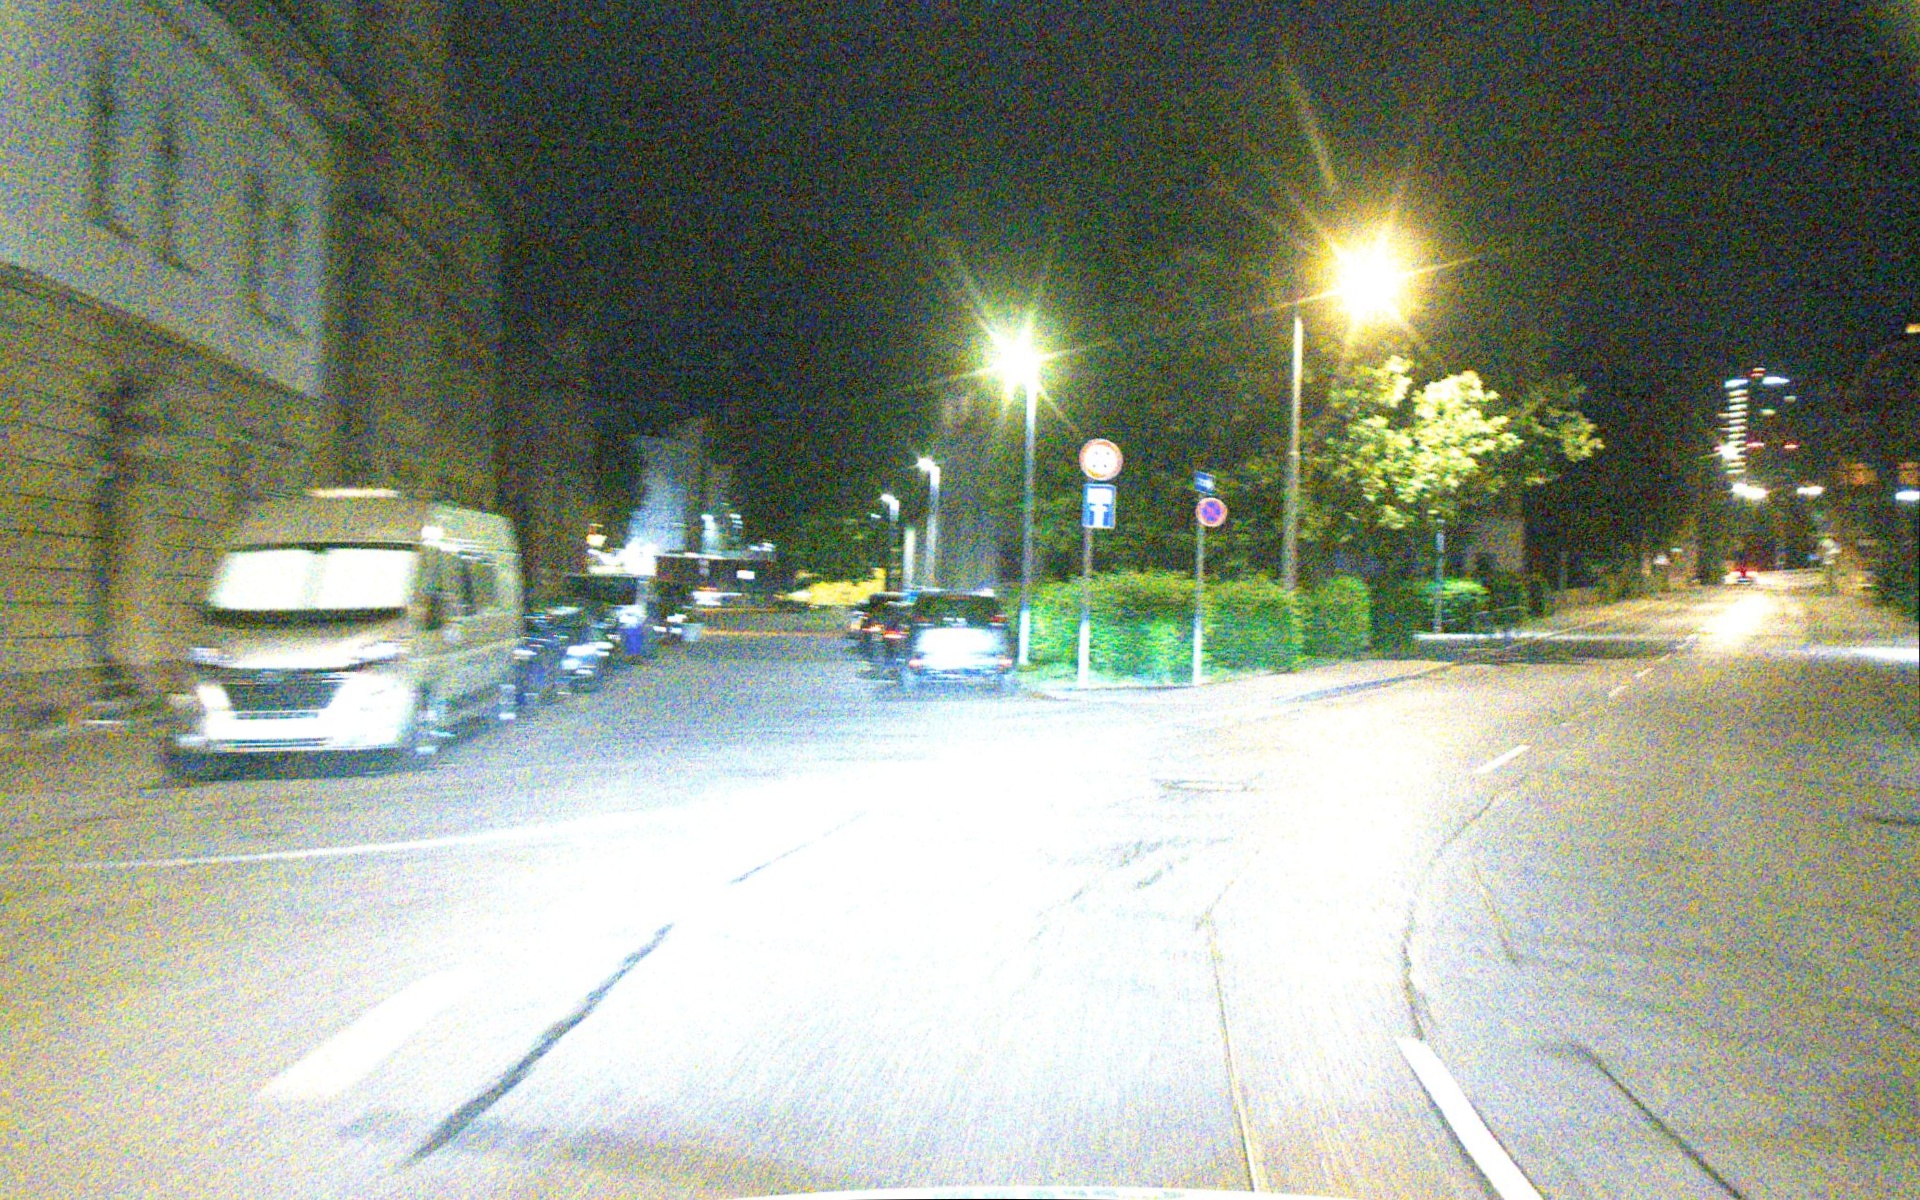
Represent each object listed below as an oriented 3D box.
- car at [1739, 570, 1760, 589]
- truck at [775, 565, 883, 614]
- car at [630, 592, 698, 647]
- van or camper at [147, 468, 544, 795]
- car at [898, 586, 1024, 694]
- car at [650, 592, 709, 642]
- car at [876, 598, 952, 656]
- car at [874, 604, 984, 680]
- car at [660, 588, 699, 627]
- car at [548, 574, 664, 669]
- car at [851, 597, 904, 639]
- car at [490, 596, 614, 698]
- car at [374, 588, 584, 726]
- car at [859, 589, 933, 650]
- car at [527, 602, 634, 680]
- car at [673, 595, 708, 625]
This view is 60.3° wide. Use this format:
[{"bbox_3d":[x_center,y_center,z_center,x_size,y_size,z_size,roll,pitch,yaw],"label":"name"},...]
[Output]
[{"bbox_3d":[82.336,-2.113,172.430,1.887,1.887,3.995,0,-1,27],"label":"car"},{"bbox_3d":[-8.264,-0.643,104.485,6.649,2.894,1.996,1,0,-8],"label":"truck"},{"bbox_3d":[-8.858,0.586,49.675,1.672,1.536,4.094,2,-1,-6],"label":"car"},{"bbox_3d":[-5.742,0.244,16.492,2.116,2.580,6.219,-2,0,-6],"label":"van or camper"},{"bbox_3d":[-0.062,0.616,27.543,1.847,1.631,4.104,-1,0,-3],"label":"car"},{"bbox_3d":[-9.379,0.561,55.577,1.644,1.594,4.100,0,0,-5],"label":"car"},{"bbox_3d":[-1.294,0.704,44.998,1.843,1.439,4.469,-1,0,-4],"label":"car"},{"bbox_3d":[-0.677,0.797,32.715,1.925,1.407,3.996,0,0,-5],"label":"car"},{"bbox_3d":[-13.509,0.365,79.762,1.606,1.791,3.958,0,0,-6],"label":"car"},{"bbox_3d":[-7.893,0.451,37.292,1.955,1.989,4.800,0,0,-5],"label":"car"},{"bbox_3d":[-3.091,0.641,61.437,1.724,1.470,4.021,0,0,-6],"label":"car"},{"bbox_3d":[-6.639,0.701,27.321,1.806,1.533,4.728,0,0,-12],"label":"car"},{"bbox_3d":[-6.255,0.676,21.999,1.855,1.618,4.369,-1,0,-5],"label":"car"},{"bbox_3d":[-2.006,0.580,50.513,2.000,1.724,4.877,-2,0,-5],"label":"car"},{"bbox_3d":[-7.319,0.759,32.227,1.660,1.423,4.071,0,0,-8],"label":"car"},{"bbox_3d":[-13.962,0.524,85.737,1.576,1.543,3.802,0,0,-6],"label":"car"}]
